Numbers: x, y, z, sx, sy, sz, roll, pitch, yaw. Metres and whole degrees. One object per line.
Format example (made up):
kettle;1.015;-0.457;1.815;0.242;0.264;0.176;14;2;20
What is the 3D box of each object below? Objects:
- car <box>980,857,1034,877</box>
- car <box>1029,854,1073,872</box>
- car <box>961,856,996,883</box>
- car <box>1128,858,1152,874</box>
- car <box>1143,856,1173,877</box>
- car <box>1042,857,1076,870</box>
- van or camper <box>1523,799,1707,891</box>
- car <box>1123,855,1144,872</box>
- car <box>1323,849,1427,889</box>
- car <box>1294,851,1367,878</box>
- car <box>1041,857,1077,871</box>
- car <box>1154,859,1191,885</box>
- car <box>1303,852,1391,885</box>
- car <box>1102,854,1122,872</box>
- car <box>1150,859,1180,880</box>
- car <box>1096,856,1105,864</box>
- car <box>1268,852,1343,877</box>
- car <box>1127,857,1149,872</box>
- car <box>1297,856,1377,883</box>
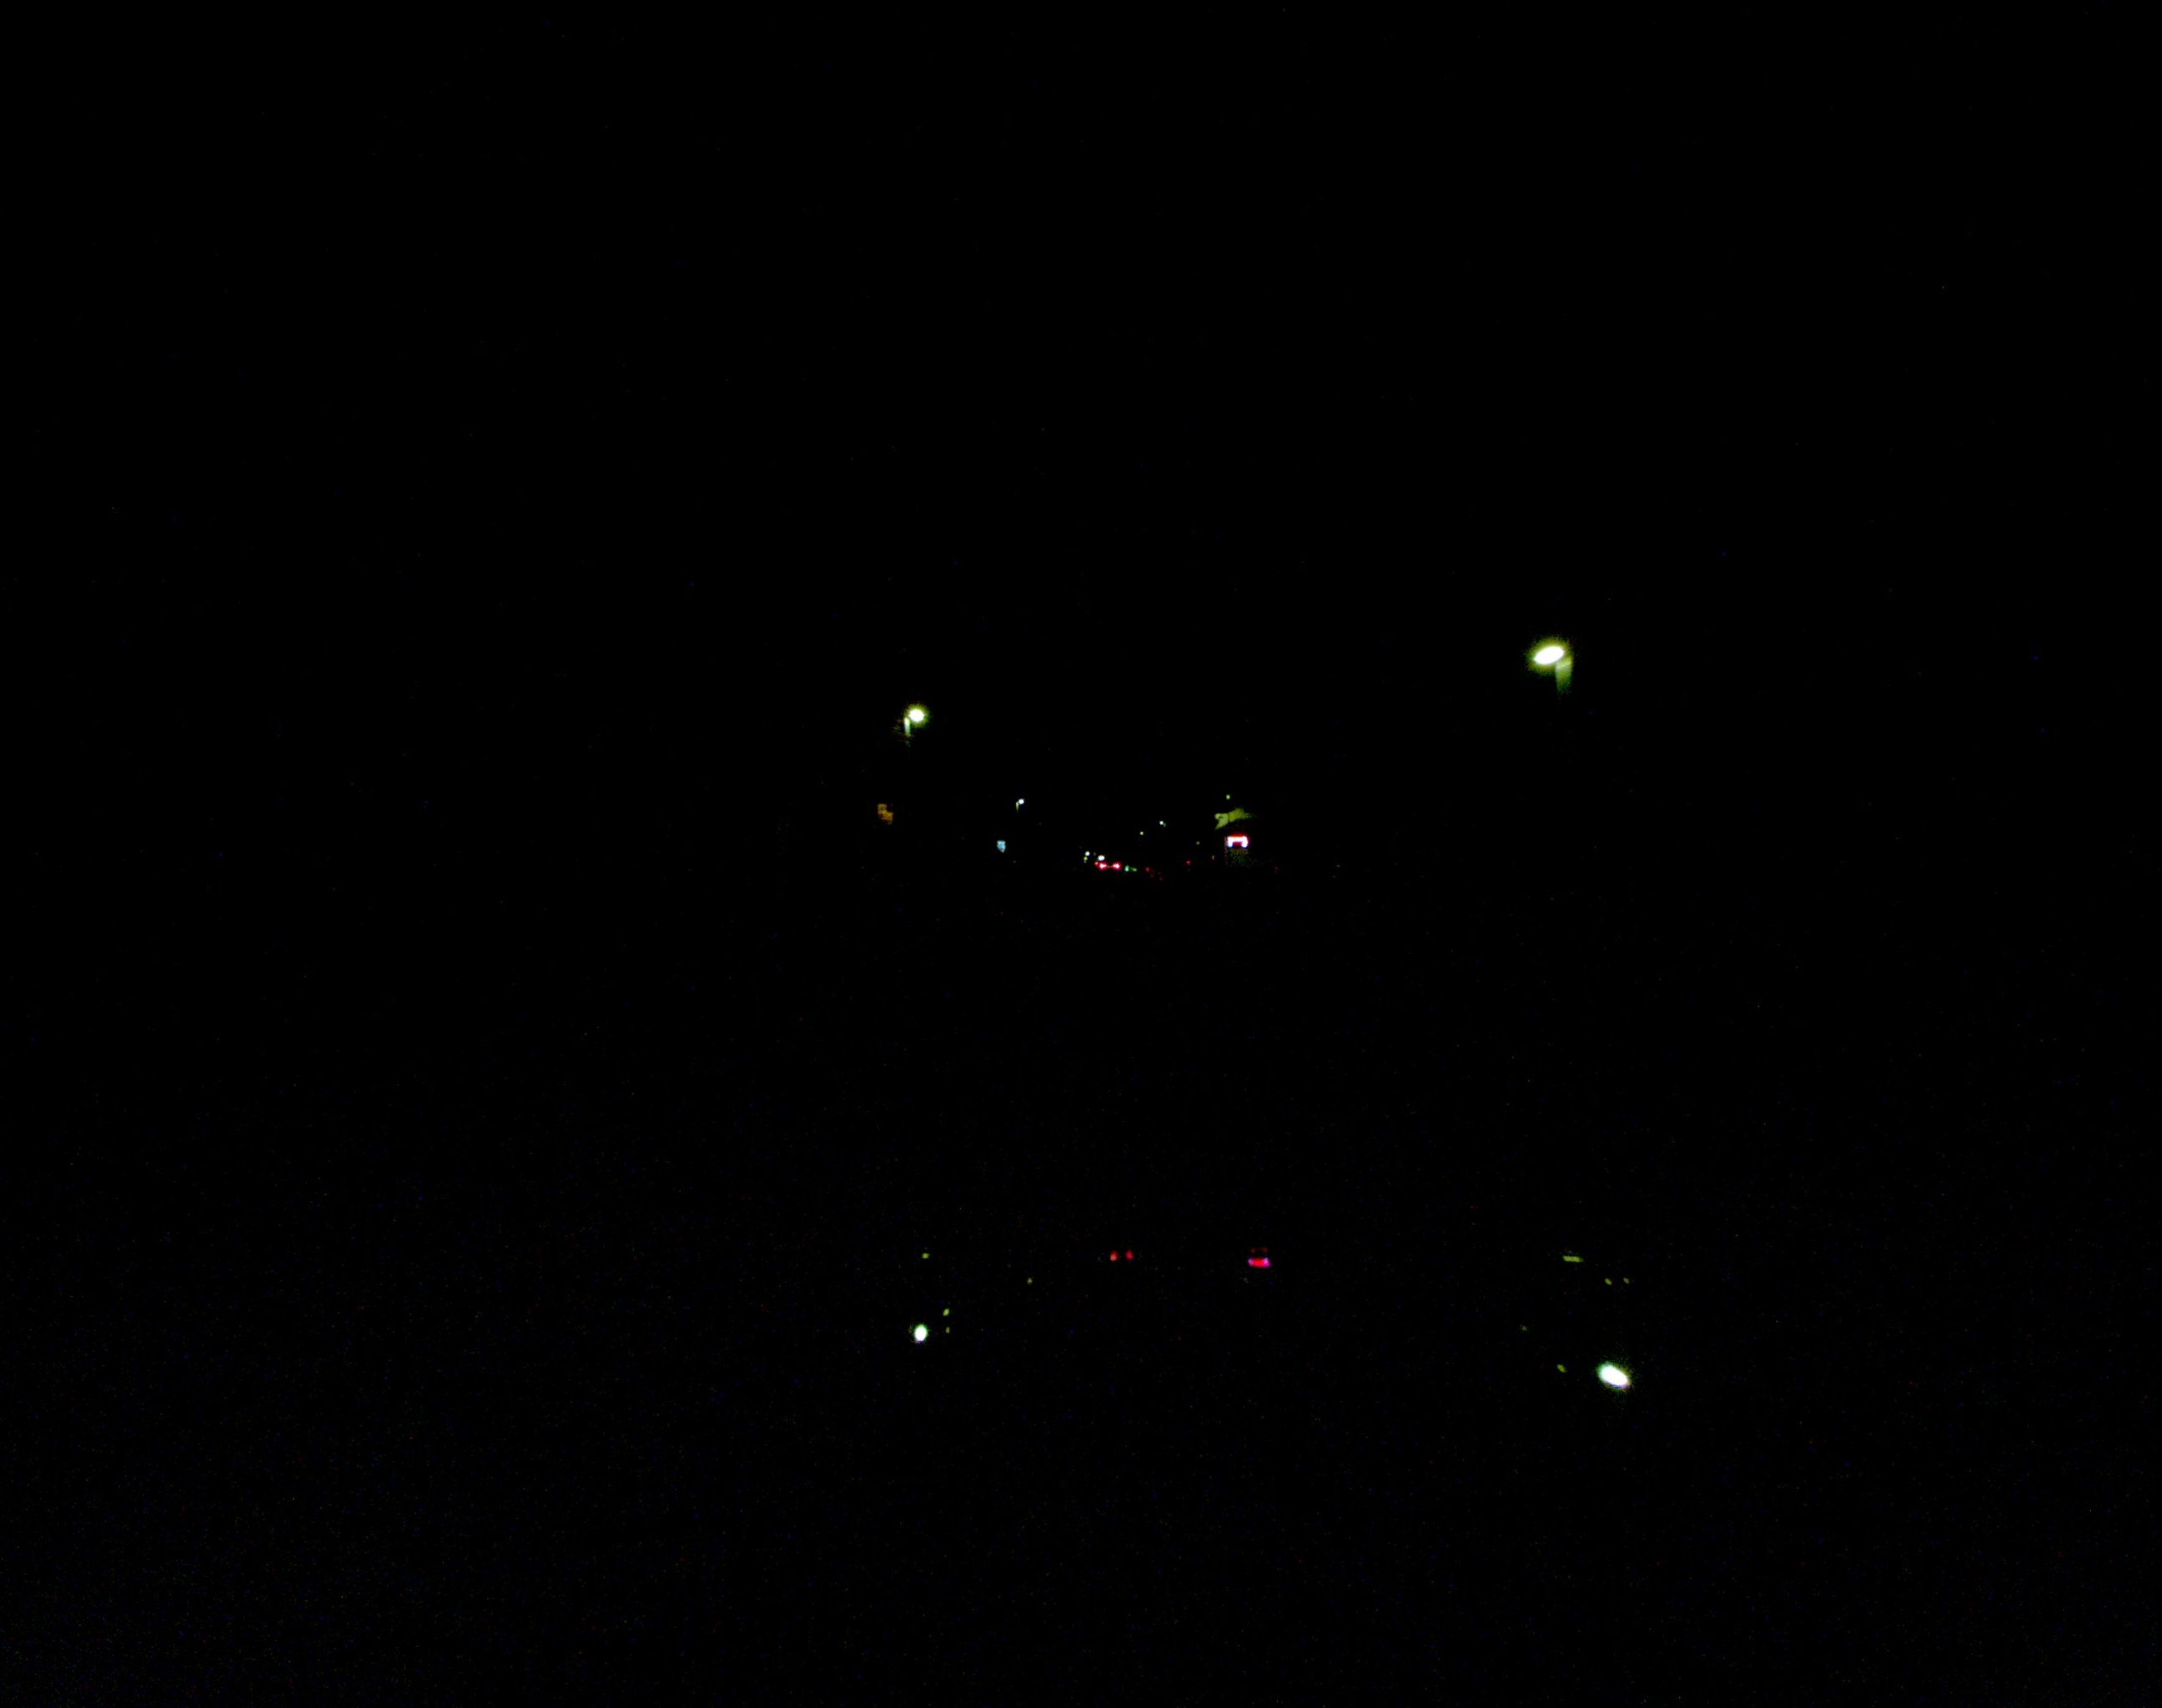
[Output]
car;-5.746;0.989;59.303;3.914;1.477;1.832;1;0;1
car;-3.171;0.933;81.081;4.363;1.805;2.032;0;0;6
car;-6.113;0.910;45.670;1.643;1.551;3.678;0;0;0
car;6.383;1.265;82.712;2.121;1.539;4.475;-1;1;-1
car;6.208;1.006;61.693;1.933;1.627;4.471;-2;0;0
car;-2.682;1.181;92.444;3.924;1.542;1.988;0;0;5
van or camper;17.872;-0.274;25.937;2.080;2.731;5.929;-1;0;0
car;6.473;1.158;94.588;2.121;1.935;4.888;-1;0;-1
car;13.602;0.697;35.299;3.999;1.693;1.947;2;0;-6
car;15.603;0.649;47.734;3.996;1.608;2.001;-1;0;4
car;-2.485;1.163;85.824;3.926;1.505;1.854;0;1;0
car;5.523;1.072;46.249;1.754;1.460;4.009;-1;0;0
car;14.485;0.762;41.591;4.125;1.652;2.000;1;0;2
car;3.087;0.849;76.167;2.008;1.737;4.559;0;0;2
car;6.238;1.111;56.516;1.775;1.460;3.966;0;0;0
car;4.314;1.352;168.883;1.724;1.705;3.960;-1;0;-2
car;14.849;0.695;50.358;4.325;1.552;2.028;0;0;-6
car;6.619;1.243;88.140;2.121;1.660;4.169;-1;0;-1
car;14.962;0.871;44.574;3.996;1.455;2.000;-1;0;2
